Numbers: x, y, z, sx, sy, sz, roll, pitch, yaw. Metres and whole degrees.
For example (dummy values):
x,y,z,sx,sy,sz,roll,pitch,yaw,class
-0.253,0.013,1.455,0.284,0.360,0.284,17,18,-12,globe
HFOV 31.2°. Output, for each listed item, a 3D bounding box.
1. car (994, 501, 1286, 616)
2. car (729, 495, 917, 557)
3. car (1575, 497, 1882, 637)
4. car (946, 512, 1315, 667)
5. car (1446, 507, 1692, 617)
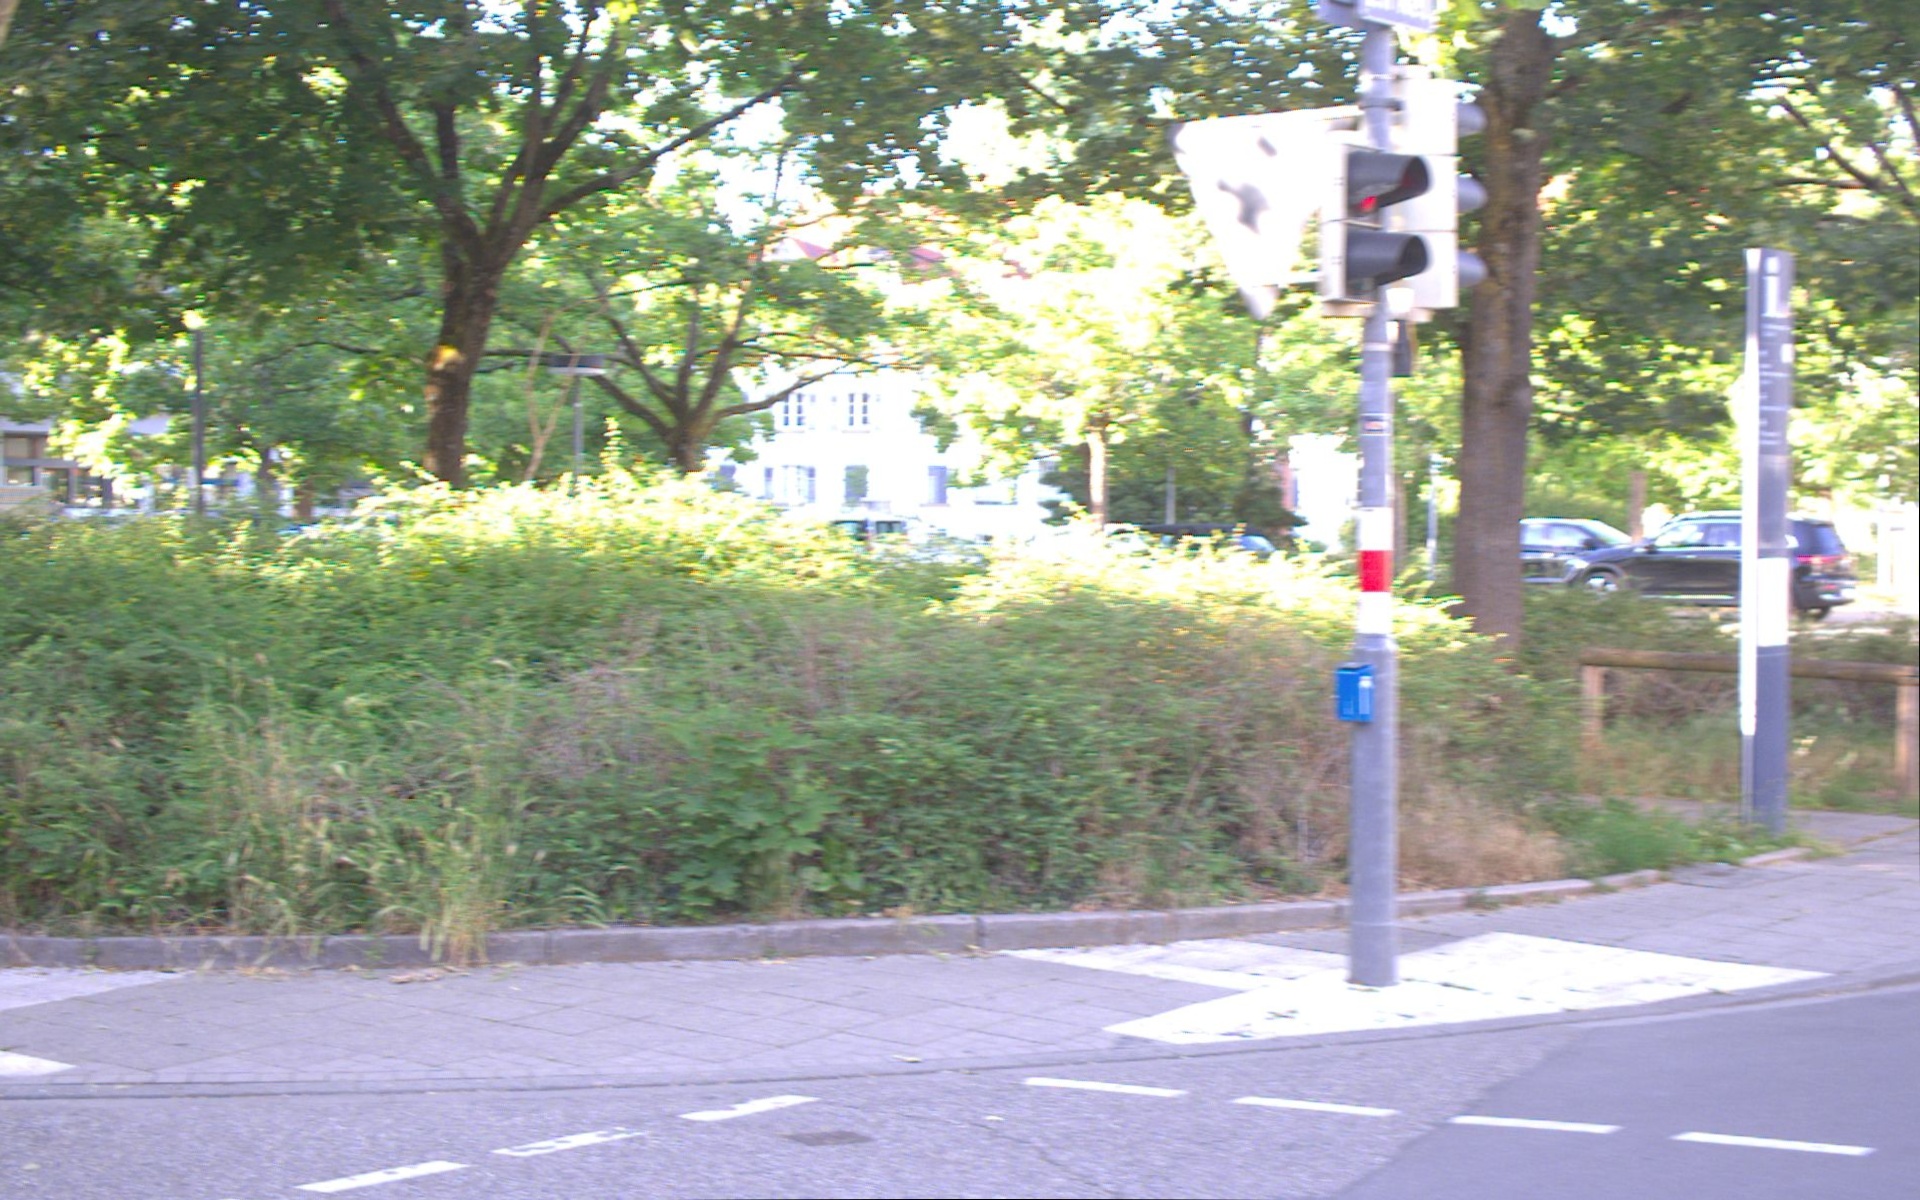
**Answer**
x,y,z,sx,sy,sz,roll,pitch,yaw,class
2.695,-0.632,51.886,3.996,1.620,1.920,2,1,38,car
-3.591,-1.928,89.425,4.652,1.470,2.010,2,1,38,car
12.032,-0.548,53.927,4.306,2.081,1.784,2,2,36,car
2.091,-0.169,42.790,4.306,1.805,1.784,2,2,36,car
11.330,-0.714,64.028,4.041,1.940,1.920,2,1,37,car
